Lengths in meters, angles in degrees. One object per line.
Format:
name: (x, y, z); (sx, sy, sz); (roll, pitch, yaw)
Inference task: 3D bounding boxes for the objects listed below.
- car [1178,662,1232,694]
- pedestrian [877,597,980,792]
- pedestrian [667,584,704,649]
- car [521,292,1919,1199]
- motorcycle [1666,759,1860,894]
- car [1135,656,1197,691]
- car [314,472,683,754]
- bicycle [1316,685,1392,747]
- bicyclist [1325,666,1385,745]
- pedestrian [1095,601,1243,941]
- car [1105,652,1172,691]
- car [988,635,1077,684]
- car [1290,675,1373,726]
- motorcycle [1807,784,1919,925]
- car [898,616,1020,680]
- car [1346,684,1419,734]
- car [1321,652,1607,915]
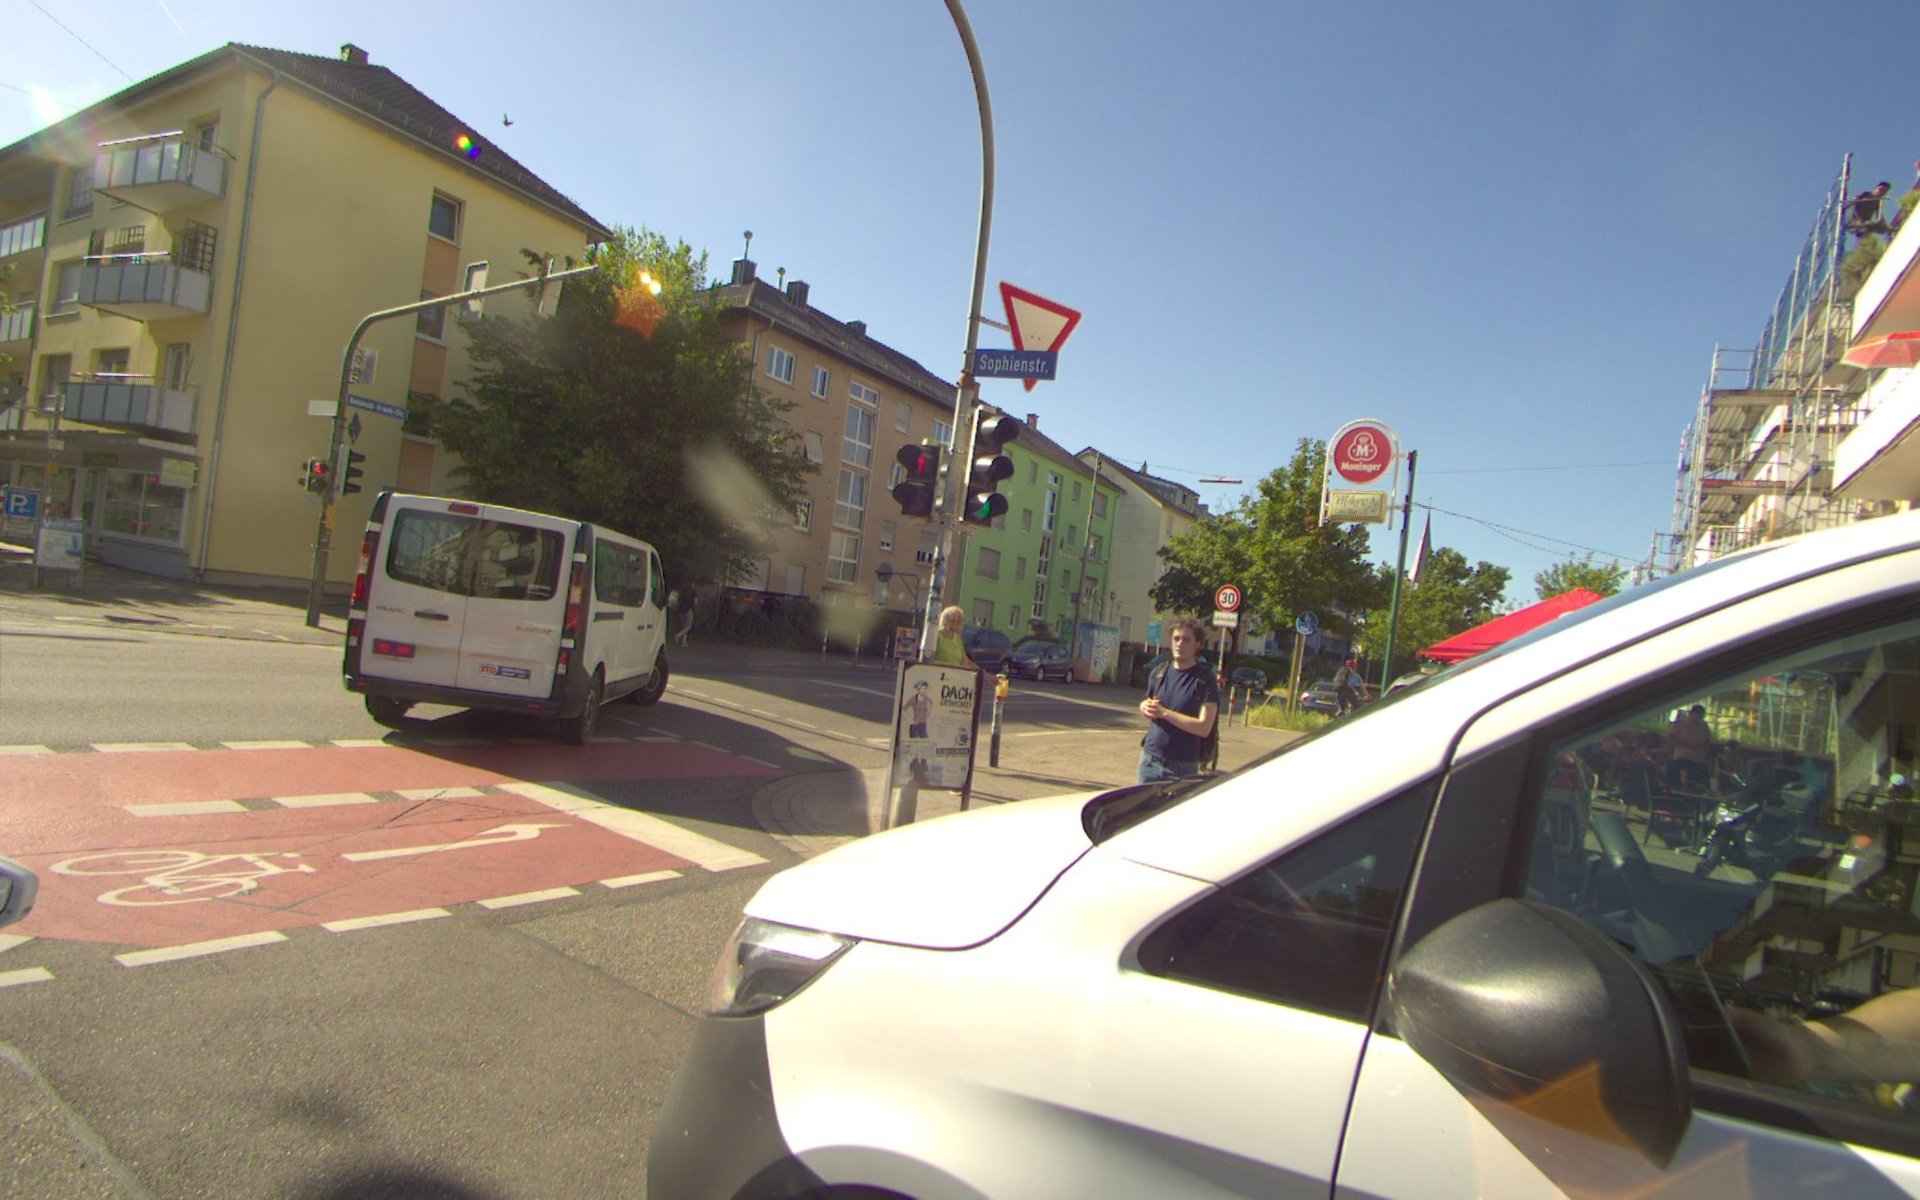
car: (13.133, 4.177, 53.783); (1.658, 1.352, 3.516); (7, -2, 33)
pedestrian: (-0.306, 0.912, 9.830); (0.613, 1.783, 0.526); (7, 0, 30)
pedestrian: (-7.092, 0.420, 25.984); (0.530, 1.589, 0.540); (7, 0, 32)
car: (1.831, 0.804, 1.338); (4.752, 1.831, 1.972); (6, -1, 31)
motorcycle: (8.425, 2.378, 10.545); (1.986, 1.180, 0.565); (8, -1, -21)
car: (10.007, 3.598, 48.719); (1.658, 1.352, 3.516); (7, -2, 33)
car: (-4.301, 0.199, 10.450); (1.942, 1.961, 5.052); (8, -3, -9)
bicycle: (8.922, 2.611, 22.724); (0.794, 1.270, 2.127); (4, -2, 43)
bicyclist: (8.935, 2.381, 22.745); (0.794, 1.669, 1.119); (4, -2, 43)
pedestrian: (1.269, 0.976, 6.021); (0.594, 1.844, 0.629); (7, 0, 17)
car: (8.142, 3.245, 45.575); (1.658, 1.428, 3.516); (7, -1, 32)
car: (2.697, 2.201, 36.880); (1.658, 1.428, 3.516); (7, -1, 32)
car: (12.184, 3.277, 32.843); (1.686, 1.329, 3.994); (7, -2, 32)
motorcycle: (9.342, 2.523, 9.892); (1.986, 1.180, 0.565); (8, -1, -21)
car: (0.037, 1.589, 32.465); (1.967, 1.592, 3.993); (7, -2, 32)
car: (15.417, 3.959, 36.592); (1.686, 1.470, 3.994); (7, -2, 32)
car: (4.854, 1.536, 9.432); (1.795, 1.682, 3.993); (7, -2, 32)
